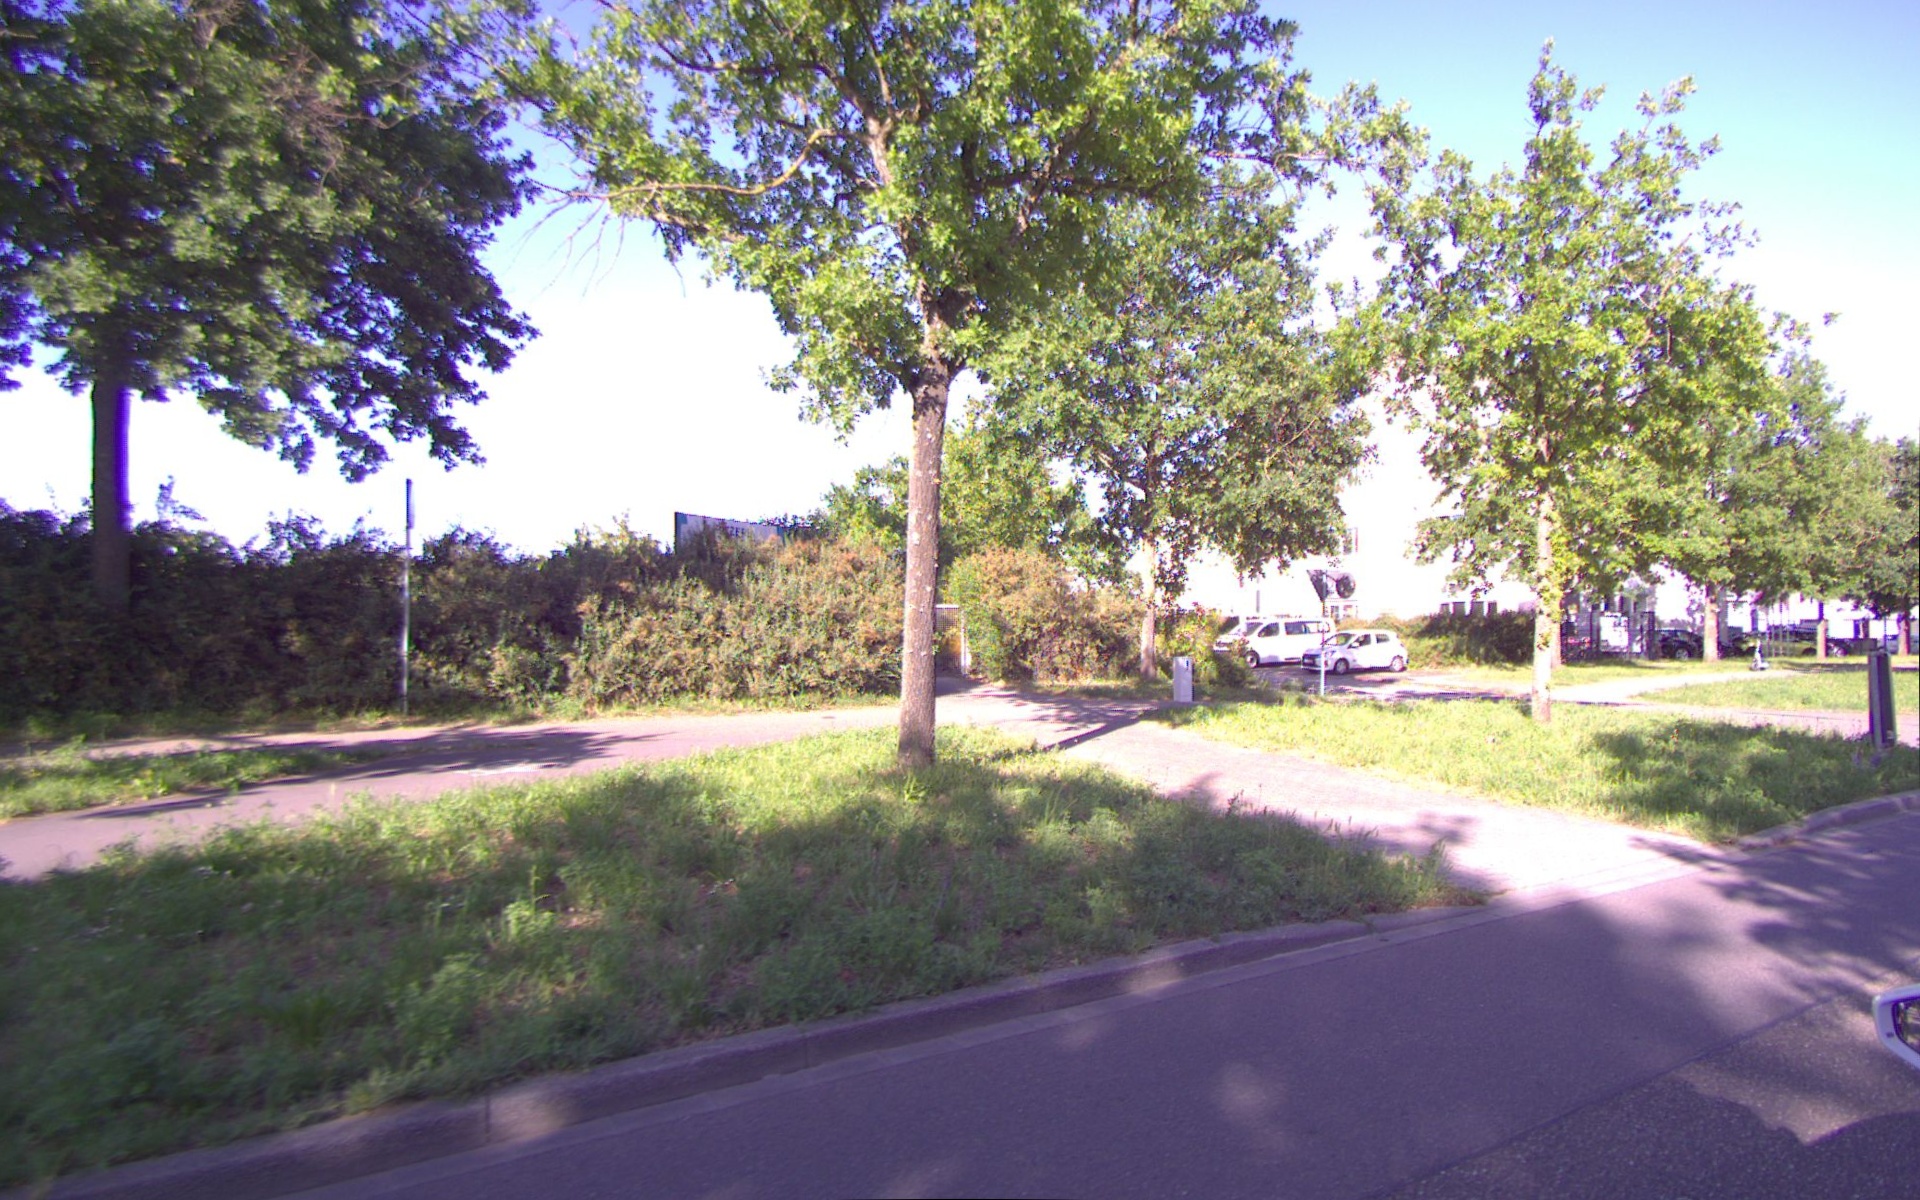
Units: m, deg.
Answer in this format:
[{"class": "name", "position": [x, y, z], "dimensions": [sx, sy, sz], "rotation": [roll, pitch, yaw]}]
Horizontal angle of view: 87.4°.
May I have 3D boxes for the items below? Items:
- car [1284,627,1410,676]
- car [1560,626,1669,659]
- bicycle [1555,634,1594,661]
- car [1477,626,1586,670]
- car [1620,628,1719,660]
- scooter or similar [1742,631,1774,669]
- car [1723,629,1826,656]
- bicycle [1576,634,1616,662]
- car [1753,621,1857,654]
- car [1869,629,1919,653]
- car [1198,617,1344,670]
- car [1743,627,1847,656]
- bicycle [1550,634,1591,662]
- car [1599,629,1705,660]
[{"class": "car", "position": [13.809, 1.795, 35.885], "dimensions": [3.857, 1.525, 1.991], "rotation": [-2, 0, -20]}, {"class": "car", "position": [30.879, 1.989, 47.488], "dimensions": [3.918, 1.467, 1.802], "rotation": [0, -1, 11]}, {"class": "bicycle", "position": [25.860, 1.988, 42.236], "dimensions": [1.870, 1.102, 0.636], "rotation": [1, -1, -32]}, {"class": "car", "position": [26.207, 2.166, 46.185], "dimensions": [1.995, 1.807, 4.011], "rotation": [1, 0, -20]}, {"class": "car", "position": [36.168, 2.218, 51.311], "dimensions": [3.928, 1.531, 1.798], "rotation": [-1, 0, 30]}, {"class": "scooter or similar", "position": [27.508, 1.713, 34.611], "dimensions": [1.424, 1.296, 0.393], "rotation": [1, -1, -31]}, {"class": "car", "position": [44.602, 2.300, 55.086], "dimensions": [3.875, 1.420, 2.001], "rotation": [0, -1, 17]}, {"class": "bicycle", "position": [26.108, 1.969, 41.222], "dimensions": [1.870, 1.102, 0.636], "rotation": [1, -1, -32]}, {"class": "car", "position": [55.158, 2.430, 65.673], "dimensions": [4.761, 2.040, 2.001], "rotation": [0, -1, 17]}, {"class": "car", "position": [65.698, 2.831, 69.511], "dimensions": [1.931, 1.639, 3.742], "rotation": [1, -1, -16]}, {"class": "car", "position": [12.619, 1.717, 40.828], "dimensions": [5.358, 1.841, 2.298], "rotation": [-2, 0, -20]}, {"class": "car", "position": [47.208, 2.315, 56.905], "dimensions": [4.087, 1.558, 1.897], "rotation": [0, -1, 17]}, {"class": "bicycle", "position": [24.772, 1.943, 40.750], "dimensions": [1.870, 1.102, 0.636], "rotation": [1, -1, -32]}, {"class": "car", "position": [33.947, 2.159, 49.373], "dimensions": [3.919, 1.467, 1.802], "rotation": [0, -1, 16]}]
